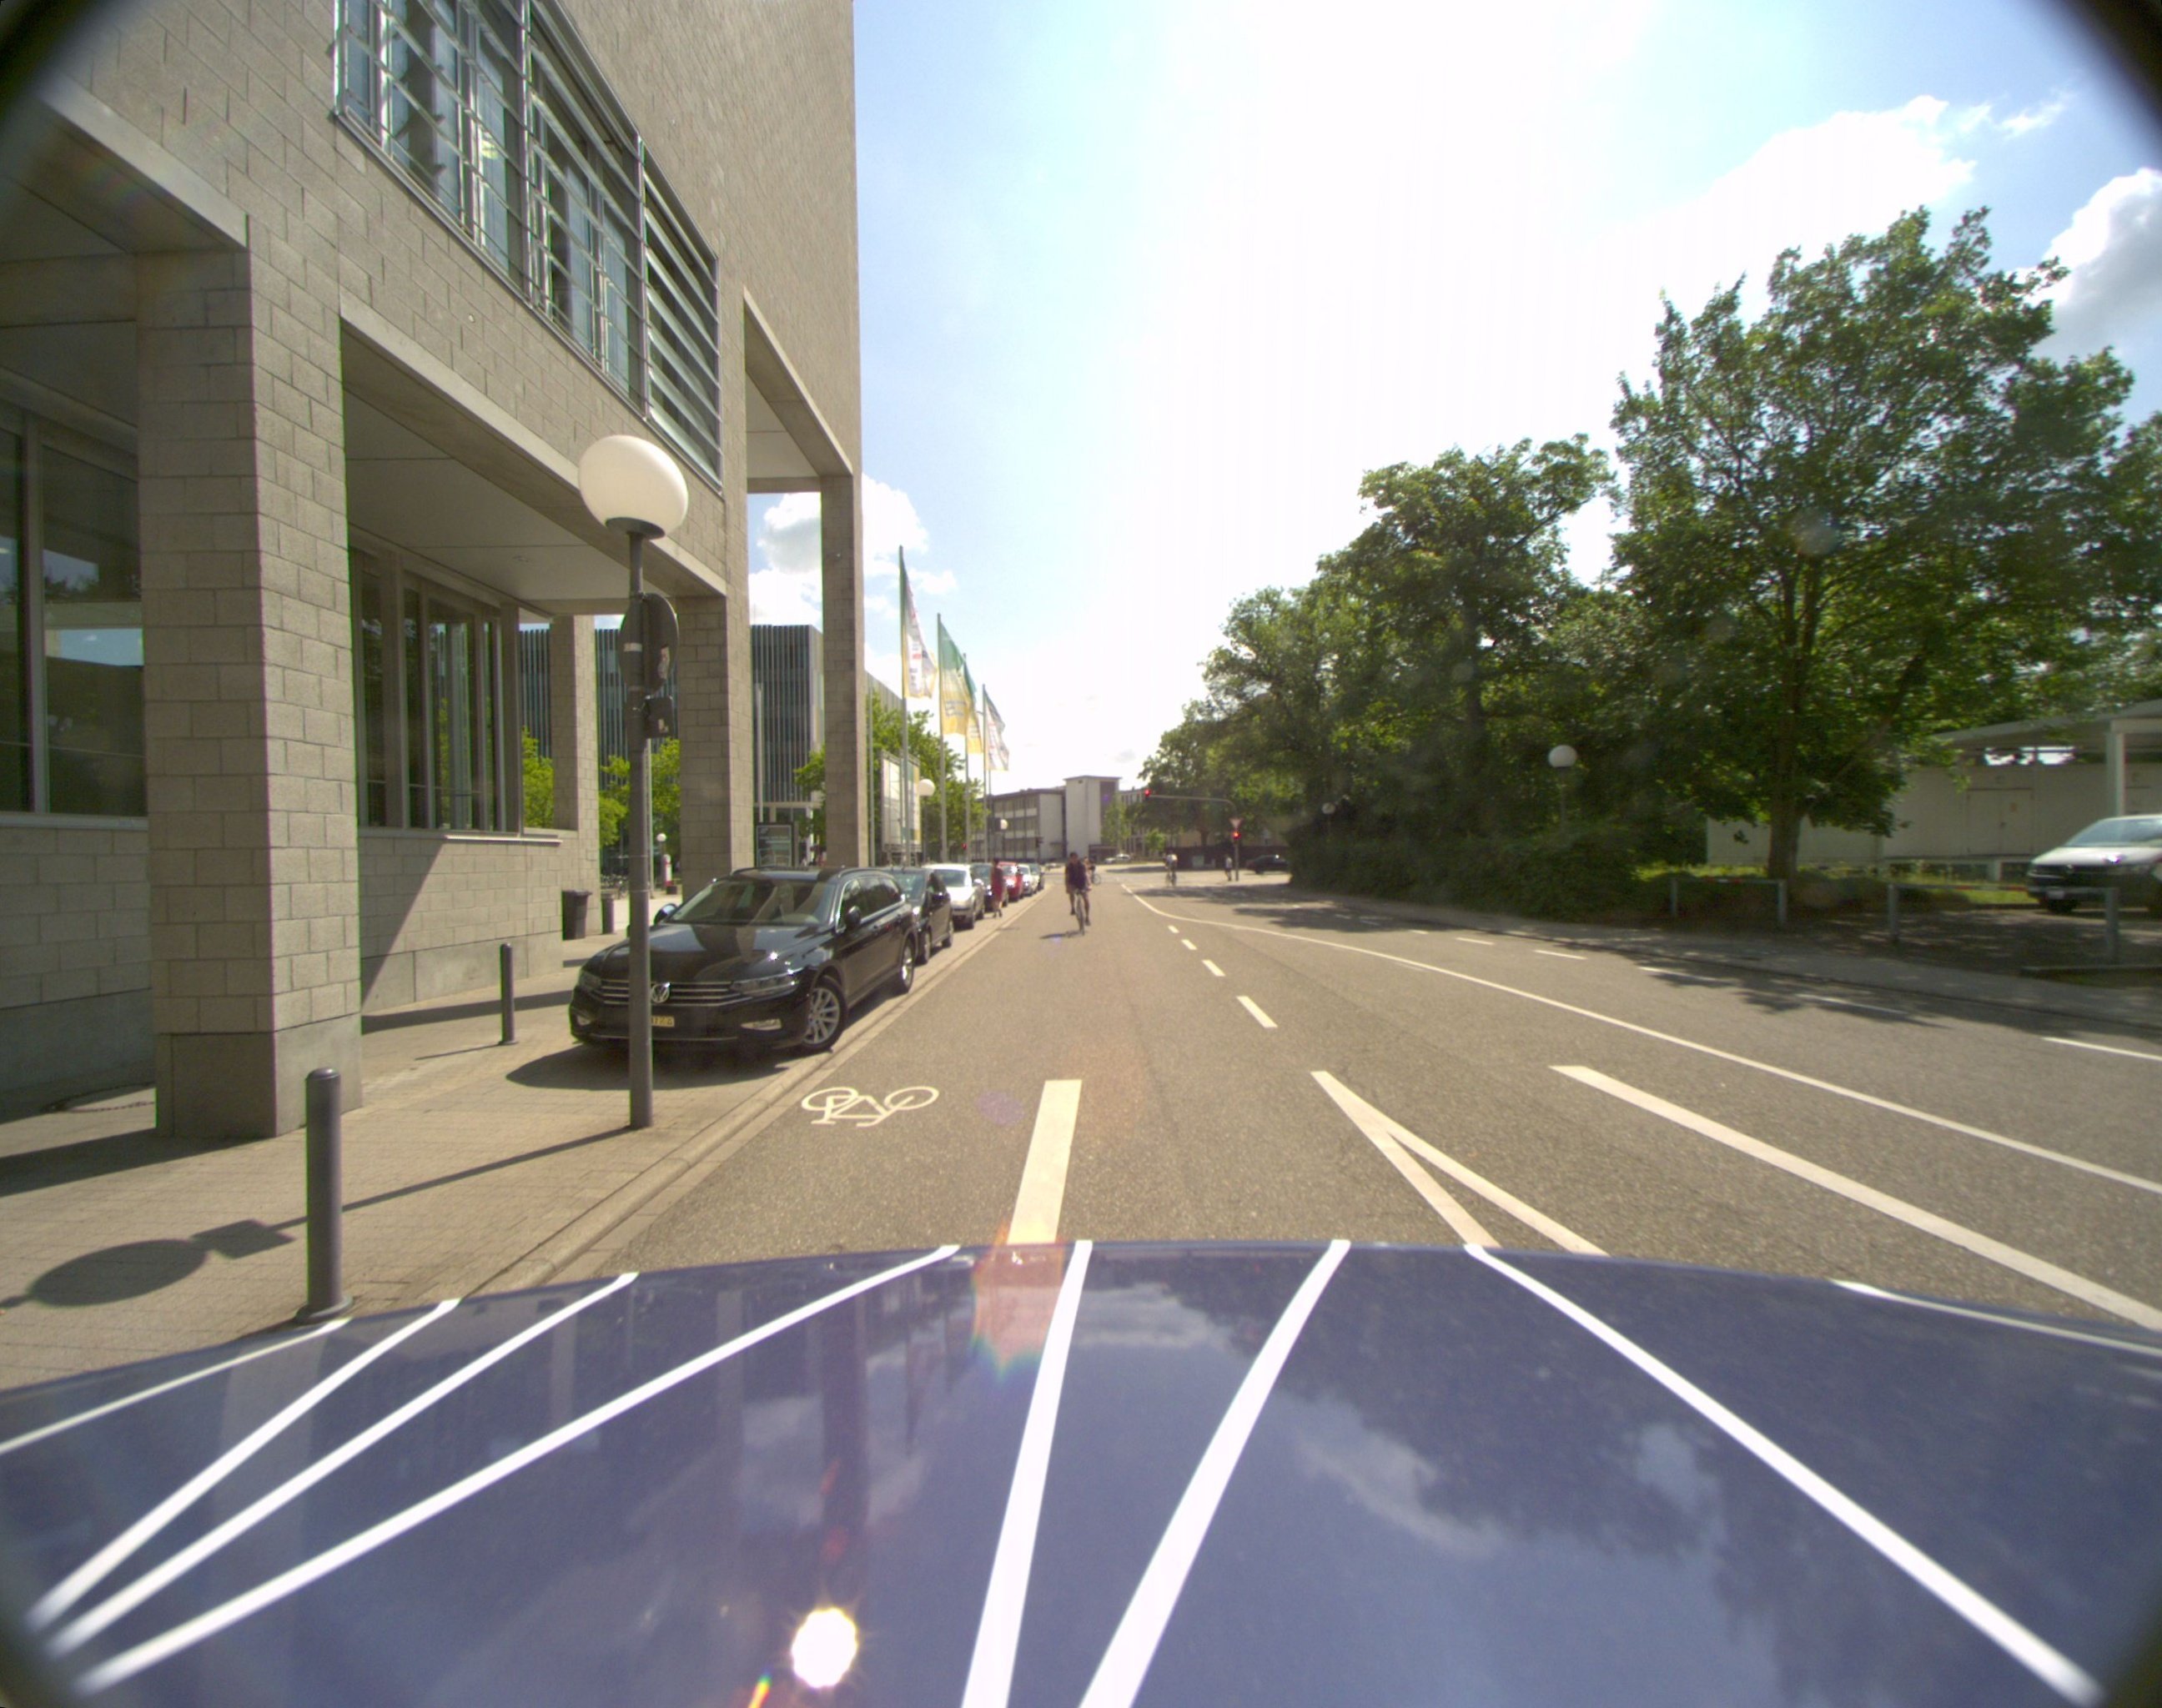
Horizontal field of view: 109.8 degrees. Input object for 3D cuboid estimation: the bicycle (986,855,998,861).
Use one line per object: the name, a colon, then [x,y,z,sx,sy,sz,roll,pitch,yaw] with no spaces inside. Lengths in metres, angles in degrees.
bicycle: [-14.524,0.679,124.184,1.776,0.950,0.528,-1,3,-27]

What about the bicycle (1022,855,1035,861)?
bicycle: [-7.927,0.615,114.871,1.776,0.950,0.528,-1,3,-27]

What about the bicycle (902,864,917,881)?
bicycle: [-12.334,1.298,54.637,0.818,1.067,1.889,1,3,-5]

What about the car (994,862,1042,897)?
car: [-2.801,1.107,34.725,1.722,1.392,4.438,2,0,1]

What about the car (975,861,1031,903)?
car: [-3.001,1.046,29.900,1.618,1.488,4.147,1,0,1]

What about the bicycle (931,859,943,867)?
bicycle: [-18.000,1.074,94.945,1.768,0.950,0.530,0,2,39]

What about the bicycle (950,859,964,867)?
bicycle: [-14.245,1.019,87.128,1.768,0.950,0.530,0,2,39]

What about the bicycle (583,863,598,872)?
bicycle: [-55.948,1.551,86.685,0.373,0.950,1.548,0,2,16]

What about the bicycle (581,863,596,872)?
bicycle: [-56.333,1.566,86.867,0.373,0.950,1.548,0,2,16]

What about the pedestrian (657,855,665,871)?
pedestrian: [-49.146,1.066,88.899,0.554,1.831,0.561,-1,2,-7]

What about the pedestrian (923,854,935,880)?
pedestrian: [-10.951,0.939,54.822,0.594,1.789,0.612,-2,-1,25]

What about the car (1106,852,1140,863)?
car: [6.017,0.478,109.204,4.501,1.299,1.995,-2,3,-31]

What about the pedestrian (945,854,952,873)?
pedestrian: [-12.715,0.936,73.038,0.575,1.831,0.415,-1,2,-12]

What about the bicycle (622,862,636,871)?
bicycle: [-51.565,1.477,86.682,0.373,0.950,1.548,0,2,16]

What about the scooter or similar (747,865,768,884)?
scooter or similar: [-20.920,1.327,49.150,1.191,1.159,0.353,-1,3,1]

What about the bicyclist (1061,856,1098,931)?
bicyclist: [-0.037,0.826,16.351,0.663,1.555,0.932,-1,0,-8]

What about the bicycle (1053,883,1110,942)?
bicycle: [-0.020,1.205,16.254,0.904,1.072,2.152,-1,0,-8]

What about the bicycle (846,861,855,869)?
bicycle: [-26.947,1.283,88.740,0.374,0.950,1.768,-2,2,-38]

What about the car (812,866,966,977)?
car: [-3.066,1.009,12.933,1.618,1.488,4.006,-1,0,-1]

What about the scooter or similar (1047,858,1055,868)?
scooter or similar: [-3.168,0.952,81.194,0.403,1.060,1.149,-2,1,-26]

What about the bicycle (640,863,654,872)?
bicycle: [-49.538,1.490,86.677,0.373,0.950,1.548,0,2,16]

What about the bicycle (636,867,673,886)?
bicycle: [-27.198,1.418,48.449,2.028,1.176,0.800,0,2,11]

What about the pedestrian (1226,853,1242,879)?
pedestrian: [10.137,0.819,50.258,0.930,1.690,0.854,0,-1,4]

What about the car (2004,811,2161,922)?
car: [21.462,0.167,14.566,4.932,1.975,2.000,-1,2,2]

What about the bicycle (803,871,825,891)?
bicycle: [-15.729,1.576,44.862,0.682,1.131,1.692,-1,-1,1]

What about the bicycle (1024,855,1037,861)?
bicycle: [-7.553,0.593,113.954,1.776,0.950,0.528,-1,3,-27]

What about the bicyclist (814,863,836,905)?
bicyclist: [-8.210,0.954,24.359,0.608,1.312,0.741,0,-1,-21]

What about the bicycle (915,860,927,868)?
bicycle: [-19.605,1.248,93.026,1.768,0.950,0.530,0,2,45]

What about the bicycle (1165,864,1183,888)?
bicycle: [4.886,1.129,40.019,0.694,1.164,2.209,-1,1,0]

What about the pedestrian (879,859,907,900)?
pedestrian: [-8.178,1.101,33.053,0.920,1.730,1.001,-1,1,1]

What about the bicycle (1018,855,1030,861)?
bicycle: [-8.670,0.634,115.945,1.776,0.950,0.528,-1,3,-27]

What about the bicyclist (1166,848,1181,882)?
bicyclist: [4.868,0.575,40.031,0.694,1.727,0.918,-1,1,0]

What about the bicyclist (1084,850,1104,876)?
bicyclist: [0.786,0.535,46.784,0.696,1.539,1.015,-2,1,-41]

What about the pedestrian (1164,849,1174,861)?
pedestrian: [12.617,0.099,109.187,1.297,1.641,1.327,-1,1,13]

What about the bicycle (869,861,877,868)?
bicycle: [-24.626,1.238,89.966,0.530,0.759,1.769,-1,1,-31]

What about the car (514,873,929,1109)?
car: [-2.902,0.996,7.448,1.871,1.456,4.520,-1,0,0]

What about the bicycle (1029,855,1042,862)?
bicycle: [-6.737,0.621,112.909,1.776,0.950,0.528,-1,2,-25]

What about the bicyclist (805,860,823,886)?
bicyclist: [-15.738,1.119,44.812,0.682,1.559,0.879,-1,-1,1]

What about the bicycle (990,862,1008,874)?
bicycle: [-8.384,1.396,77.282,1.673,1.118,0.694,-1,1,-24]

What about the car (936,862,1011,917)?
car: [-3.291,1.050,23.959,1.723,1.520,4.000,0,0,1]

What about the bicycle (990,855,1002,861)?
bicycle: [-13.718,0.698,122.773,1.776,0.950,0.528,-1,3,-27]

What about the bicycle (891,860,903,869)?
bicycle: [-22.268,1.270,91.857,0.530,0.950,1.768,-6,5,-42]

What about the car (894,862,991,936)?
car: [-3.240,0.991,18.619,1.724,1.520,4.565,1,0,-3]

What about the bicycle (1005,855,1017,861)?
bicycle: [-10.963,0.665,118.771,1.776,0.950,0.528,-1,3,-27]

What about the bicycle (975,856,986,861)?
bicycle: [-16.827,0.755,127.735,1.776,0.950,0.528,-1,3,-27]

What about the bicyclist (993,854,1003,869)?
bicyclist: [-8.413,0.734,77.263,0.787,1.529,0.656,-2,1,-24]

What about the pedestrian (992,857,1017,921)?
pedestrian: [-2.082,0.945,20.824,0.624,1.707,1.040,-1,1,-4]

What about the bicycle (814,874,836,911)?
bicycle: [-8.206,1.217,24.339,0.608,1.131,1.585,0,-1,-21]

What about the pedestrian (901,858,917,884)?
pedestrian: [-12.336,1.203,54.533,0.856,1.808,1.176,2,-3,-4]

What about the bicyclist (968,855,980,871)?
bicyclist: [-10.737,0.869,76.191,1.001,1.606,0.656,-2,1,-28]

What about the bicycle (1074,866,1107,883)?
bicycle: [0.564,1.235,47.050,0.797,0.983,2.203,-1,1,-41]

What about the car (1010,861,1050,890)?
car: [-2.689,1.107,40.831,1.722,1.392,4.948,1,0,1]

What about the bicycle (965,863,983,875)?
bicycle: [-10.730,1.471,76.209,1.673,1.118,0.693,-1,1,-27]

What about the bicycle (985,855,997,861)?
bicycle: [-14.759,0.705,124.603,1.776,0.950,0.528,-1,3,-27]

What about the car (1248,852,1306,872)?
car: [15.349,0.606,59.609,4.185,1.408,1.831,-1,1,7]

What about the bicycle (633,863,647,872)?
bicycle: [-50.421,1.530,86.863,0.373,0.950,1.548,0,2,16]
